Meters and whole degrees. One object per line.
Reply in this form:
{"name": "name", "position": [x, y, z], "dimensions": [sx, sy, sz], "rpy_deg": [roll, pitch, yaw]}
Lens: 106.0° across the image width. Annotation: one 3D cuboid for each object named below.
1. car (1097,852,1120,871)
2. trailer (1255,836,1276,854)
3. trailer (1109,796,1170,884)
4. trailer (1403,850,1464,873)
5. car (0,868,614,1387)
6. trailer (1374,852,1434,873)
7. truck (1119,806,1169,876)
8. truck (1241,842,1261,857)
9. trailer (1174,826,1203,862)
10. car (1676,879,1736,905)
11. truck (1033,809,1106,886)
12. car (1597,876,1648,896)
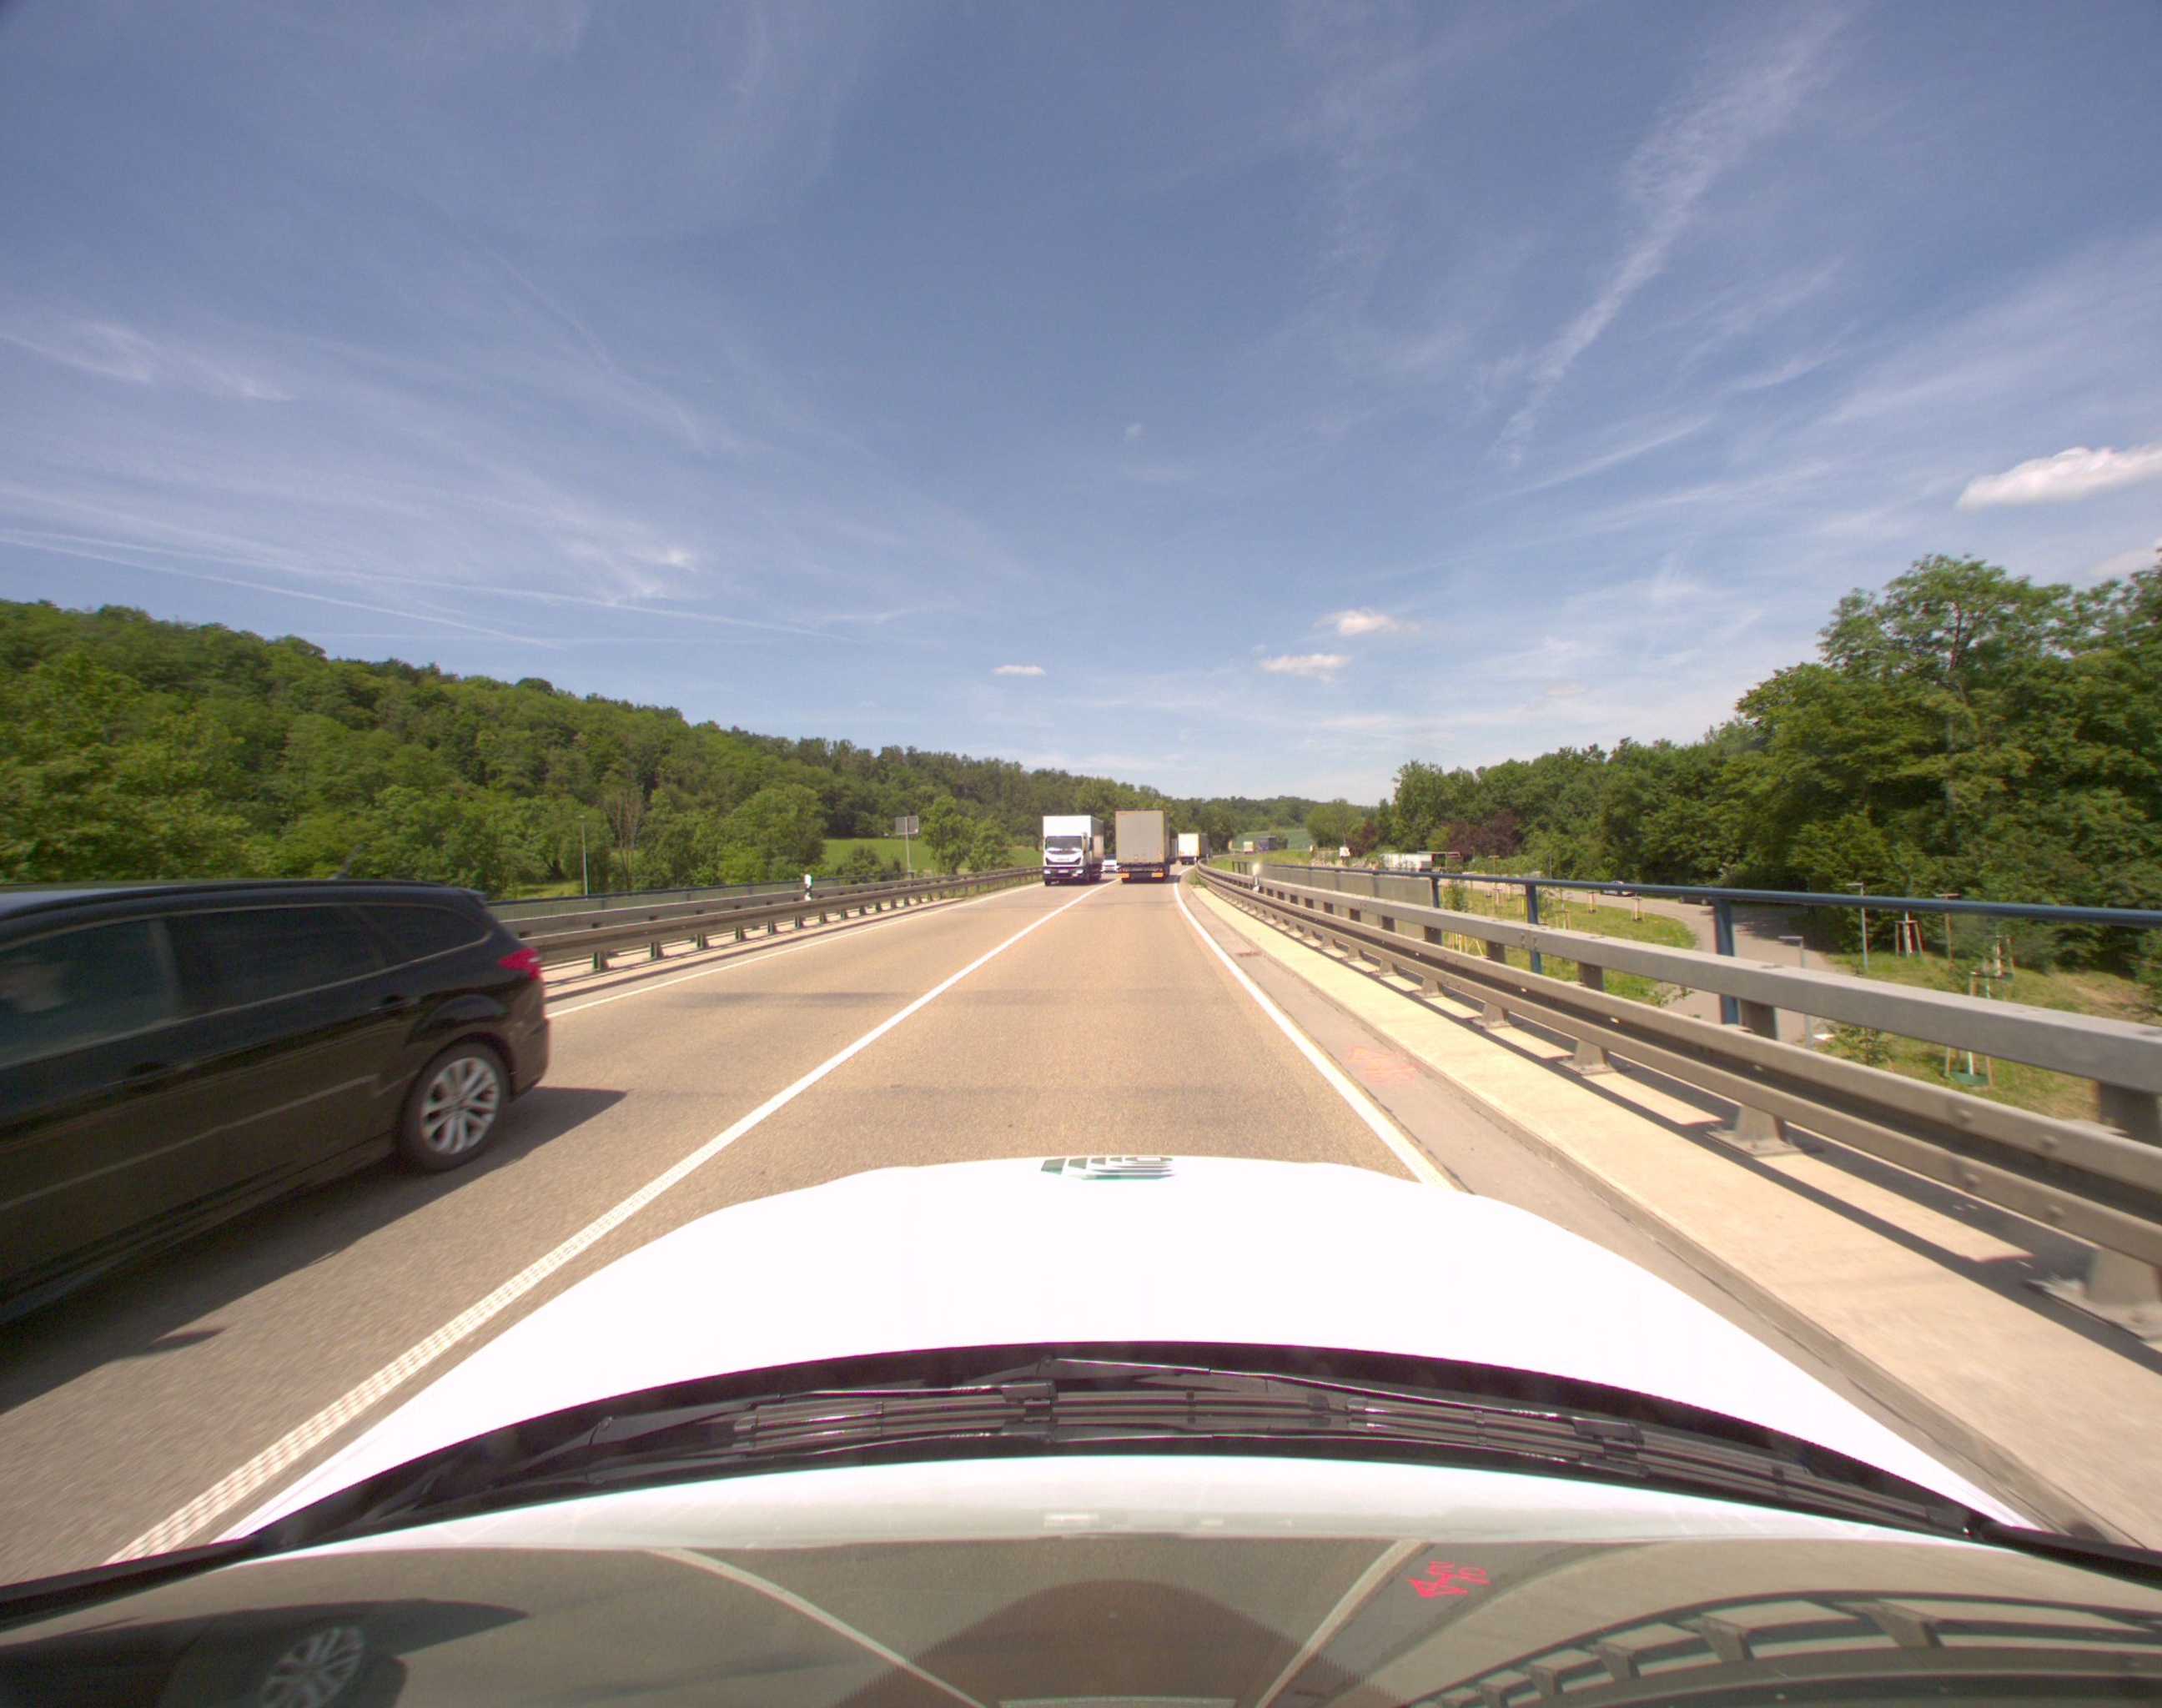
{"name": "car", "position": [2.320, 0.574, 68.149], "dimensions": [1.750, 1.511, 4.005], "rpy_deg": [-1, 0, 4]}
{"name": "trailer", "position": [47.305, -2.231, 208.302], "dimensions": [3.617, 4.263, 12.255], "rpy_deg": [-1, -1, 20]}
{"name": "trailer", "position": [3.761, -0.798, 49.305], "dimensions": [3.102, 4.499, 13.910], "rpy_deg": [-1, 0, 6]}
{"name": "trailer", "position": [58.830, 1.172, 136.245], "dimensions": [2.722, 3.606, 11.837], "rpy_deg": [0, 0, -14]}
{"name": "car", "position": [-4.012, 0.836, 3.097], "dimensions": [1.714, 1.482, 4.571], "rpy_deg": [-1, 0, 2]}
{"name": "trailer", "position": [54.951, 1.327, 138.957], "dimensions": [2.724, 3.327, 11.829], "rpy_deg": [-1, 0, -16]}
{"name": "truck", "position": [4.443, -0.853, 56.093], "dimensions": [3.102, 4.494, 6.824], "rpy_deg": [-1, 0, 6]}
{"name": "truck", "position": [39.074, -0.941, 186.814], "dimensions": [3.197, 3.365, 11.930], "rpy_deg": [-1, -1, 18]}
{"name": "trailer", "position": [14.306, -1.170, 107.317], "dimensions": [3.345, 4.317, 13.898], "rpy_deg": [-1, -1, 9]}
{"name": "car", "position": [50.673, 3.077, 66.168], "dimensions": [1.848, 1.682, 4.207], "rpy_deg": [-5, 1, 6]}
{"name": "truck", "position": [-0.423, -0.354, 45.737], "dimensions": [2.900, 3.803, 9.724], "rpy_deg": [-1, 0, 6]}
{"name": "car", "position": [51.441, 3.036, 77.450], "dimensions": [1.850, 1.482, 4.612], "rpy_deg": [-5, 0, 3]}
